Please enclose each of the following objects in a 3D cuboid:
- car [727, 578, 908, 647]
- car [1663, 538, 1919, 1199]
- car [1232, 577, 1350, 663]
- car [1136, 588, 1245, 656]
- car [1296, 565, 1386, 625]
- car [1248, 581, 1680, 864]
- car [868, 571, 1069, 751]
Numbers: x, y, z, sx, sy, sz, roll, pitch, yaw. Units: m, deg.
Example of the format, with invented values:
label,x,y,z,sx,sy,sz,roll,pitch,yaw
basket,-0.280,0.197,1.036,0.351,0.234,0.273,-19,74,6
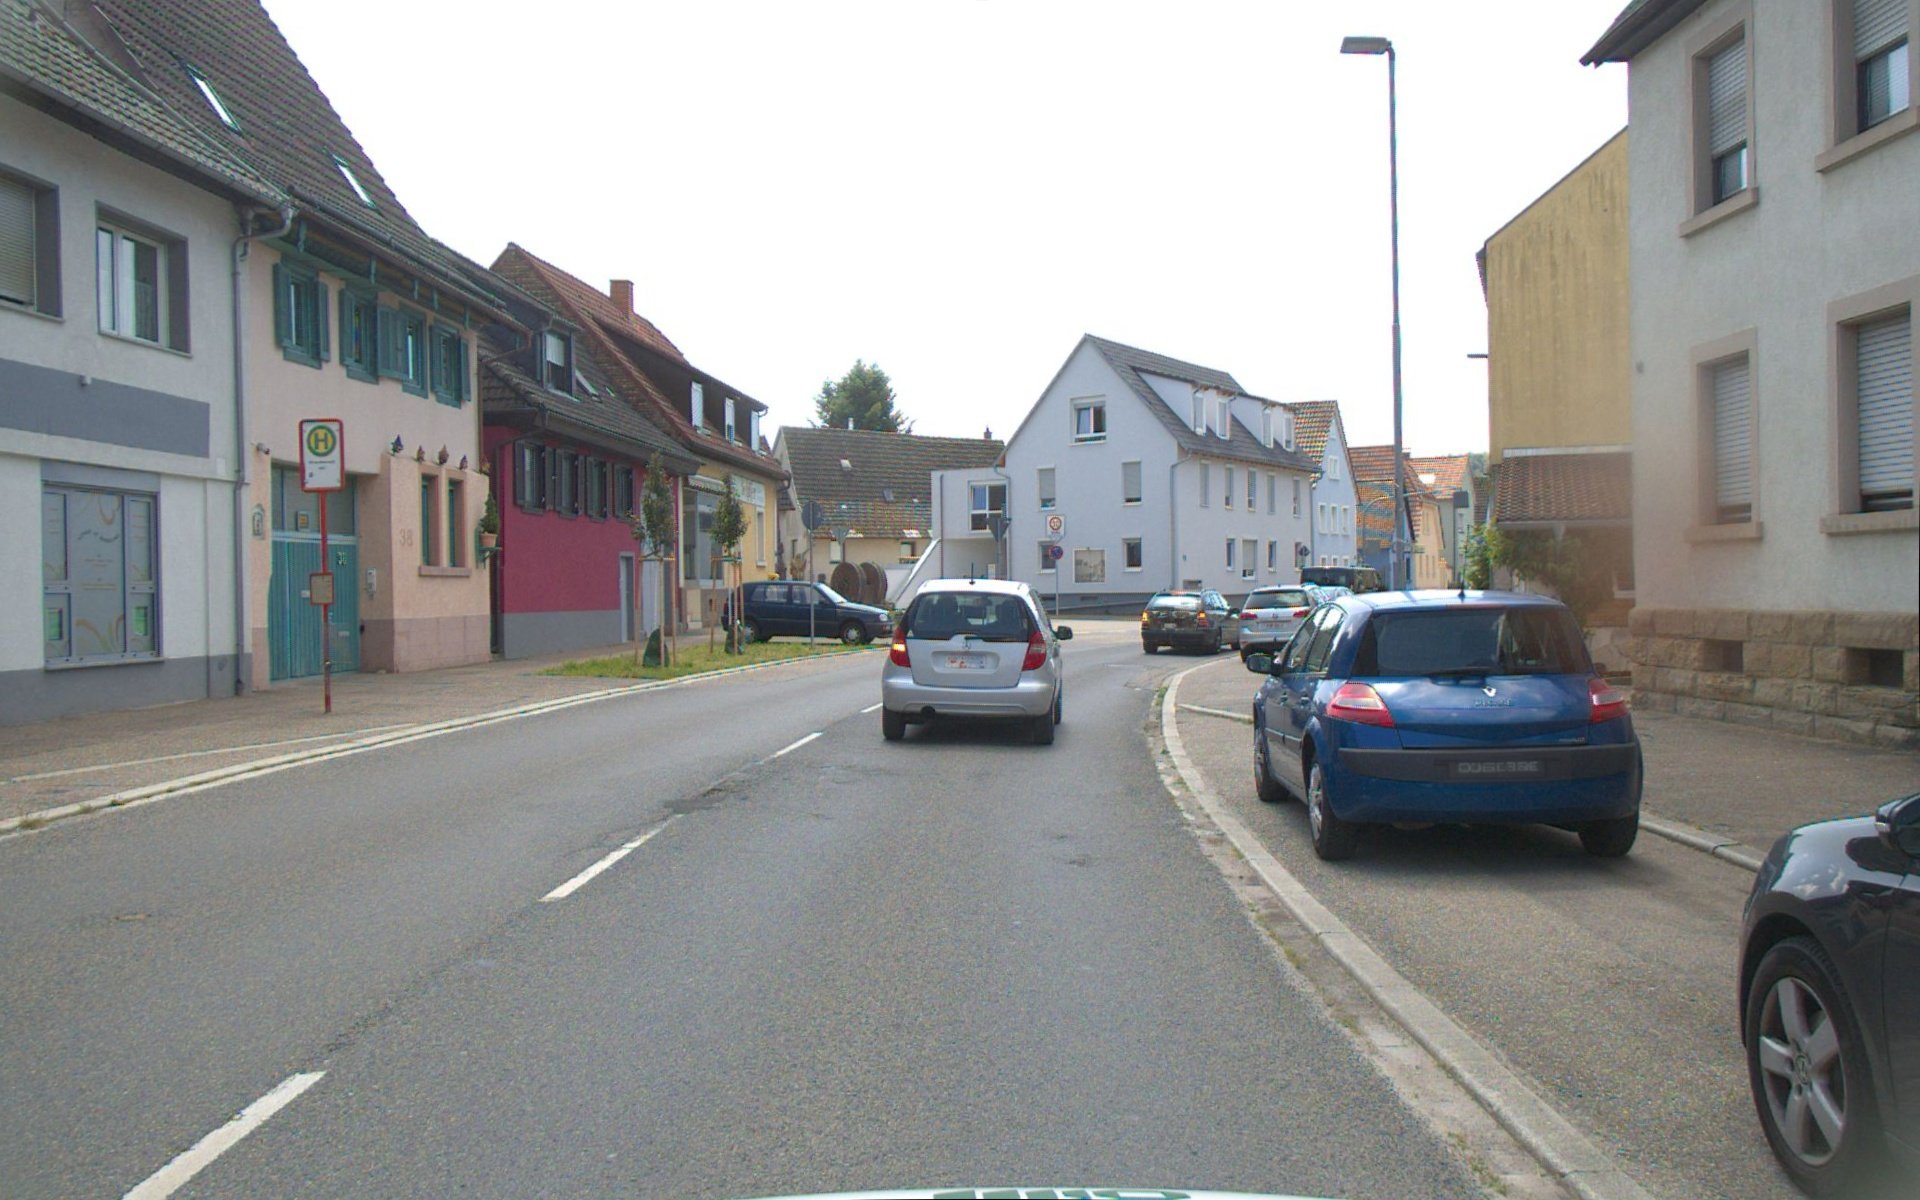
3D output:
label,x,y,z,sx,sy,sz,roll,pitch,yaw
car,-3.231,0.262,37.954,3.883,1.489,1.722,1,0,5
car,2.865,0.678,2.725,1.732,1.556,4.002,-3,2,1
car,6.802,0.379,33.690,1.845,1.556,4.338,-3,-1,17
car,5.331,0.505,37.906,1.713,1.441,4.001,1,-1,19
car,12.462,-0.144,53.950,1.955,1.848,3.995,0,-1,27
car,2.892,0.647,10.368,1.686,1.410,4.001,-1,-1,4
car,0.196,0.550,17.689,1.772,1.672,3.732,1,1,6
